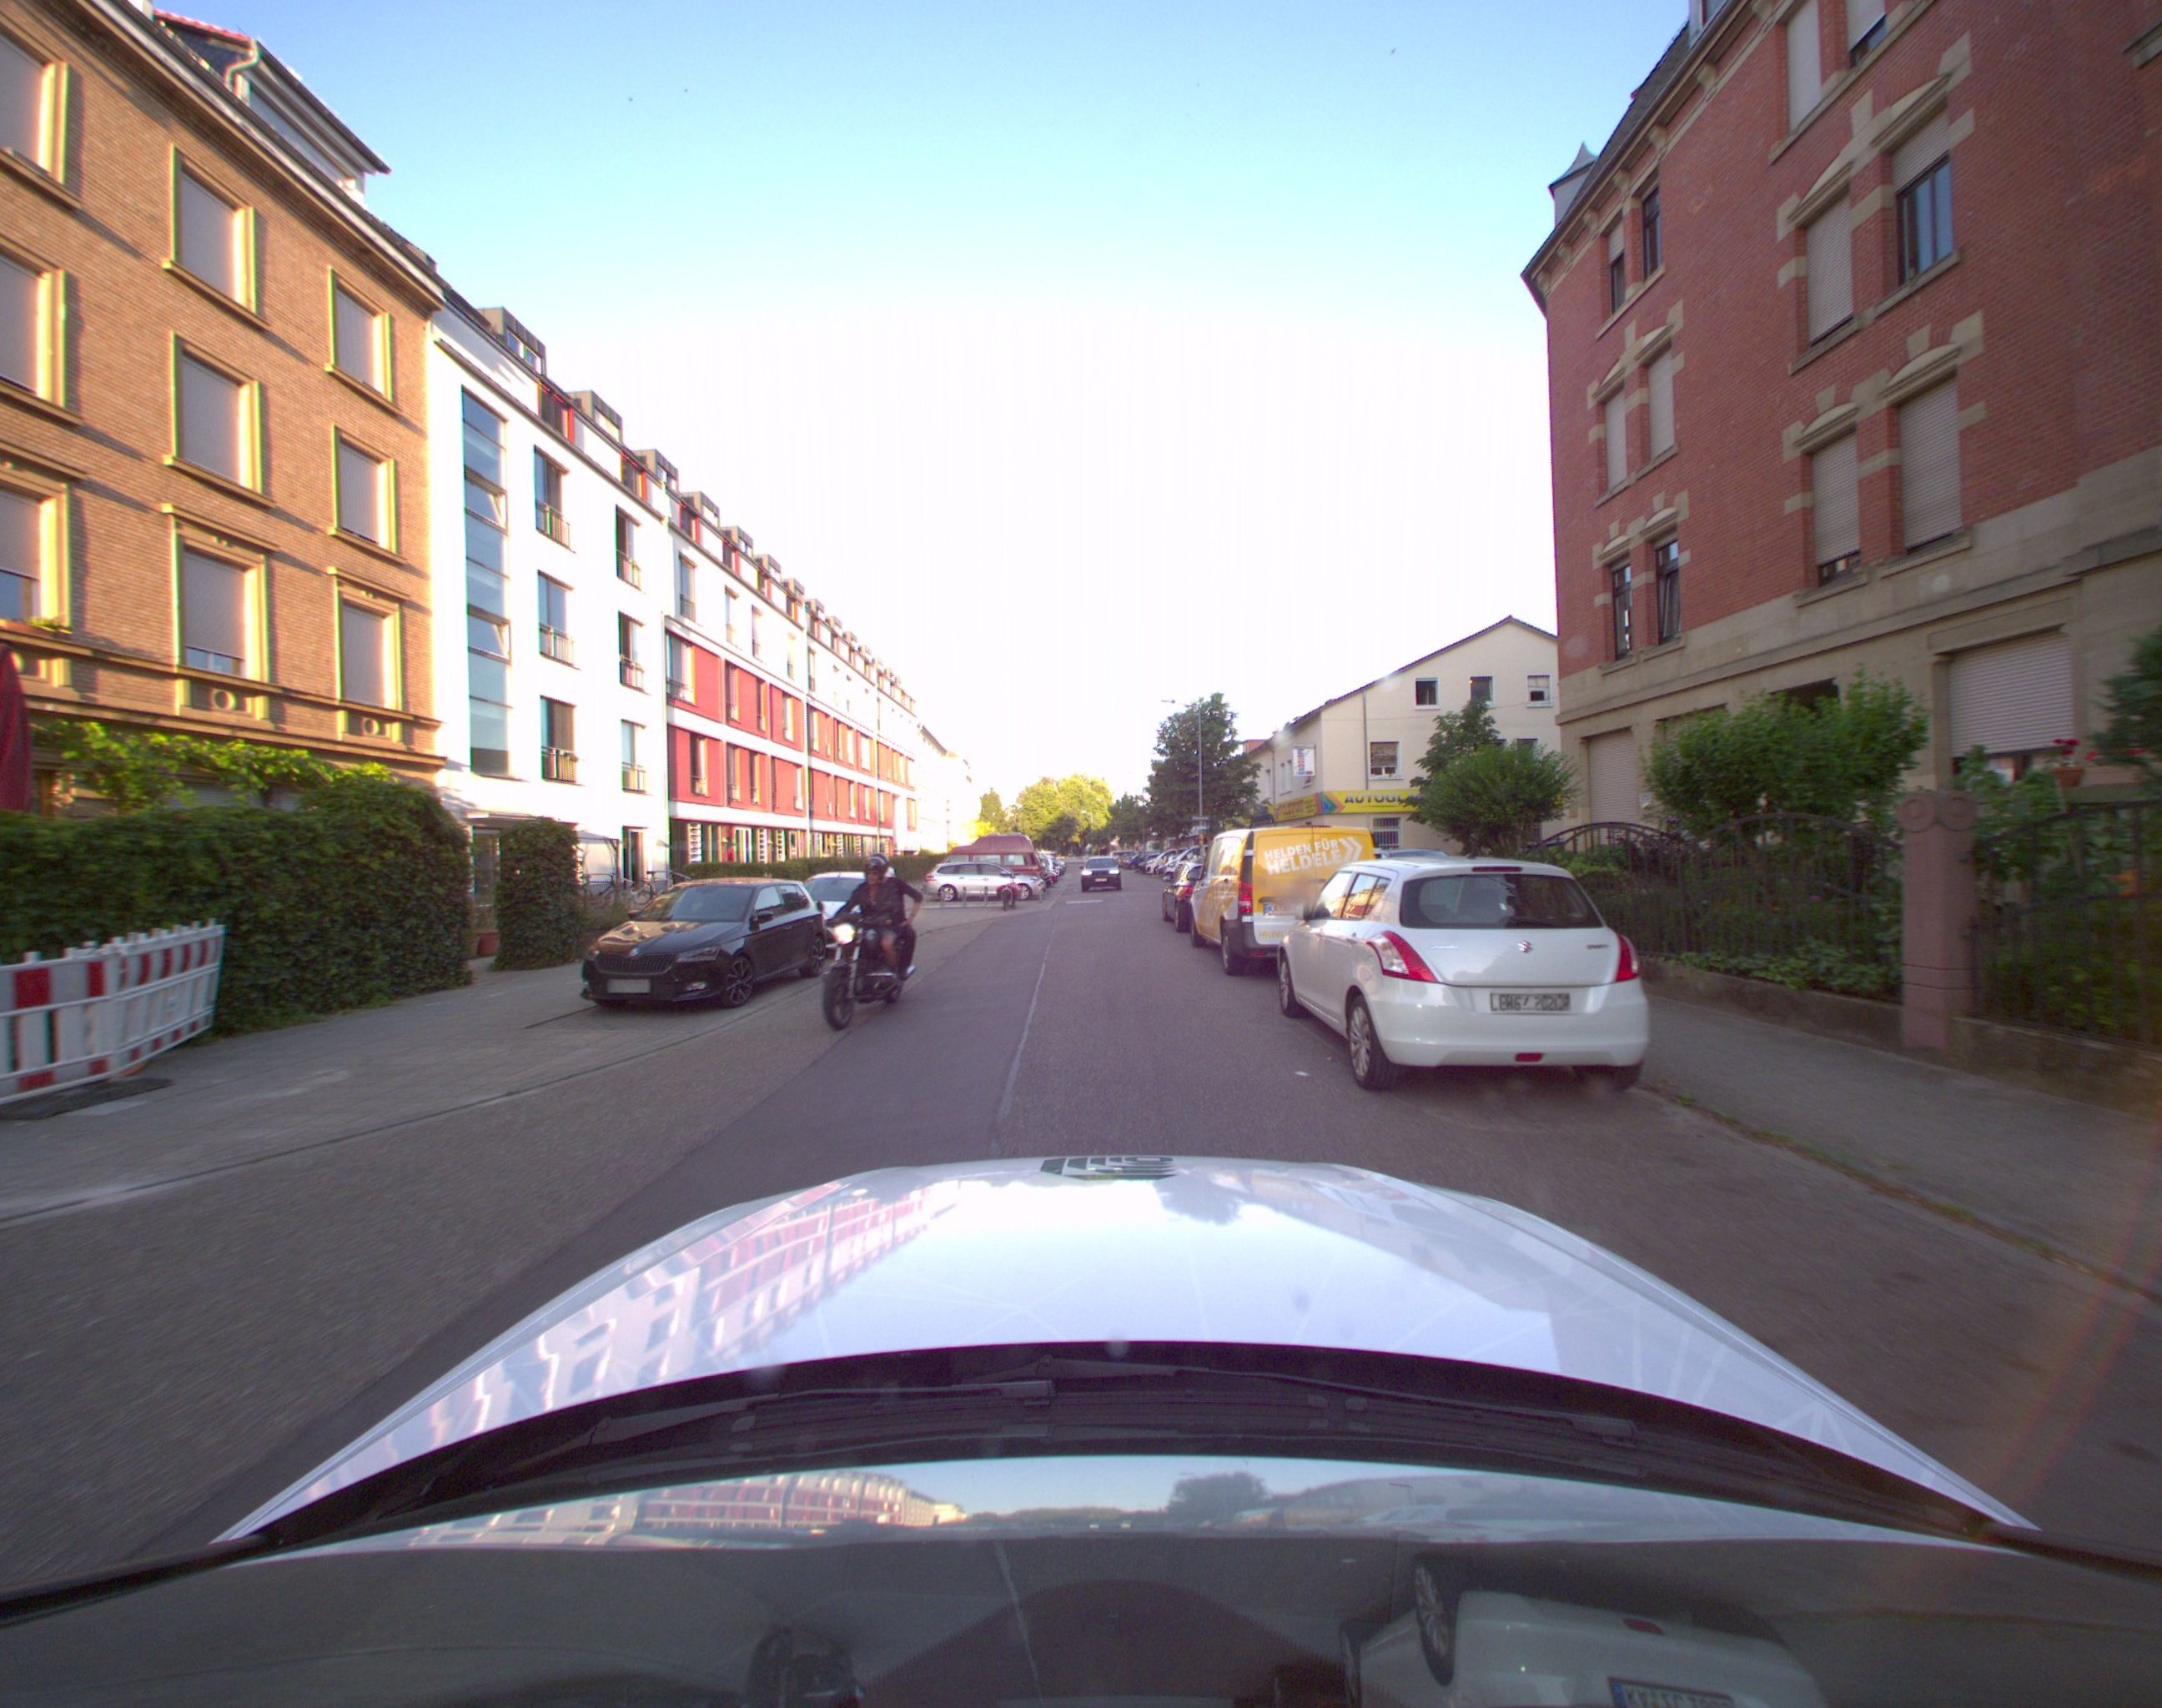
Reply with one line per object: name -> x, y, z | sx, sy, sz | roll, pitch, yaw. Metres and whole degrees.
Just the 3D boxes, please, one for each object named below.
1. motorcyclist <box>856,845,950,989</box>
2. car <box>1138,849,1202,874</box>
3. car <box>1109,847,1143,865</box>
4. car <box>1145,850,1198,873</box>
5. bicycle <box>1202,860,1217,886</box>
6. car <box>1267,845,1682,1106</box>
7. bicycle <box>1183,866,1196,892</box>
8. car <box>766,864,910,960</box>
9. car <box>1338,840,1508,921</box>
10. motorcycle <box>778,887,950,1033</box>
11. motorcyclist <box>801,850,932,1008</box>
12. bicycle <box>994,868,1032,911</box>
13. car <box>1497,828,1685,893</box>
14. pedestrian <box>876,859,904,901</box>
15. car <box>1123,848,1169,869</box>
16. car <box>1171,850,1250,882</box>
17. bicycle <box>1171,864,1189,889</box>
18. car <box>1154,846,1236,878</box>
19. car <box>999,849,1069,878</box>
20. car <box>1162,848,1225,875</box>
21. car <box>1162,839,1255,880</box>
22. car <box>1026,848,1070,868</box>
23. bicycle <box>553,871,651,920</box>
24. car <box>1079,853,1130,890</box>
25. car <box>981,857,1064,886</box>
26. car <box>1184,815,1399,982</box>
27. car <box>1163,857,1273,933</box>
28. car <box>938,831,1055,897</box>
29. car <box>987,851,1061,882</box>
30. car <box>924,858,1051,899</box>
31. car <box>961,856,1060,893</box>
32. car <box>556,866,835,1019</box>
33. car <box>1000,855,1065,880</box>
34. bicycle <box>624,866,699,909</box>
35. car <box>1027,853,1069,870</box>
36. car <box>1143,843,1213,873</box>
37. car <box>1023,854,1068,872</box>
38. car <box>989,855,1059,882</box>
motorcyclist -> -2.012, 0.697, 9.263 | 0.782, 1.540, 0.547 | -4, -1, 10
car -> 7.237, 0.588, 66.819 | 4.930, 1.689, 2.076 | -4, 0, -1
car -> 5.495, 0.276, 99.935 | 3.961, 1.911, 2.046 | -4, 0, -4
car -> 7.946, 0.655, 71.720 | 4.304, 1.804, 1.810 | -4, 0, -1
bicycle -> 6.267, 0.934, 39.790 | 0.384, 1.200, 2.018 | -3, 0, 1
car -> 2.691, 0.704, 6.602 | 1.667, 1.477, 3.865 | -1, 0, 3
bicycle -> 5.285, 1.193, 39.779 | 0.384, 1.200, 2.018 | -3, 0, 1
car -> -4.499, 0.993, 15.658 | 1.646, 1.530, 4.014 | -1, 0, -2
car -> 7.129, 0.508, 17.515 | 1.721, 1.424, 4.422 | -3, 0, 0
motorcycle -> -2.182, 1.028, 8.558 | 0.841, 1.209, 2.081 | -4, -1, 11
motorcyclist -> -2.207, 0.748, 8.505 | 0.884, 1.505, 0.972 | -4, -1, 10
bicycle -> -2.093, 1.057, 25.369 | 0.804, 1.221, 2.867 | 0, 0, 2
car -> 14.812, 0.200, 23.832 | 4.306, 1.672, 1.877 | -2, -2, -1
pedestrian -> -6.956, 0.942, 29.705 | 0.829, 1.501, 0.798 | 0, 0, 1
car -> 6.670, 0.447, 84.309 | 4.470, 1.911, 1.685 | -4, 0, -4
car -> 6.942, 0.637, 43.924 | 3.908, 1.451, 1.767 | -4, 0, -2
bicycle -> 4.800, 1.072, 39.591 | 0.437, 1.130, 2.014 | -3, 0, -4
car -> 7.235, 0.496, 52.111 | 4.926, 1.742, 2.050 | -4, 0, 1
car -> -3.314, 0.661, 58.244 | 4.834, 2.021, 1.906 | 0, 0, 0
car -> 7.529, 0.493, 54.686 | 3.897, 1.526, 1.940 | -4, 0, 1
car -> 7.248, 0.309, 46.710 | 4.972, 1.983, 2.220 | -4, 0, 1
car -> -3.510, 0.446, 86.756 | 4.518, 2.134, 2.000 | 0, 0, 0
bicycle -> -11.747, 1.011, 20.015 | 1.908, 1.141, 0.812 | 0, 0, 1
car -> 1.134, 0.750, 37.047 | 1.769, 1.517, 4.009 | -3, 0, 8
car -> -3.071, 0.929, 43.434 | 4.194, 1.490, 1.850 | 0, 0, 1
car -> 2.748, 0.516, 11.932 | 1.887, 1.884, 5.082 | -1, 0, 1
car -> 2.809, 0.779, 17.538 | 1.715, 1.424, 4.253 | 0, 0, 1
car -> -3.382, 0.393, 33.261 | 4.494, 2.584, 2.001 | 0, 0, 2
car -> -3.394, 0.744, 48.859 | 4.242, 1.836, 2.000 | 0, 0, 0
car -> -3.447, 0.880, 30.681 | 4.604, 1.460, 1.879 | 0, 0, -3
car -> -3.025, 0.883, 35.824 | 4.197, 1.538, 1.790 | 0, 0, -1
car -> -4.664, 0.966, 10.542 | 1.697, 1.534, 3.845 | -1, 0, 1
car -> -3.279, 0.883, 55.687 | 4.242, 1.652, 1.888 | 0, 0, 0
bicycle -> -11.622, 0.924, 22.599 | 1.768, 1.148, 0.611 | 0, 0, 3
car -> -3.402, 0.776, 84.116 | 4.242, 1.749, 2.000 | 0, 0, 0
car -> 7.349, 0.289, 62.038 | 4.930, 1.958, 2.048 | -4, 0, -1
car -> -3.425, 0.901, 79.342 | 4.242, 1.714, 2.000 | 0, 0, 0
car -> -3.534, 0.904, 51.332 | 4.242, 1.660, 2.000 | 0, 0, 0
